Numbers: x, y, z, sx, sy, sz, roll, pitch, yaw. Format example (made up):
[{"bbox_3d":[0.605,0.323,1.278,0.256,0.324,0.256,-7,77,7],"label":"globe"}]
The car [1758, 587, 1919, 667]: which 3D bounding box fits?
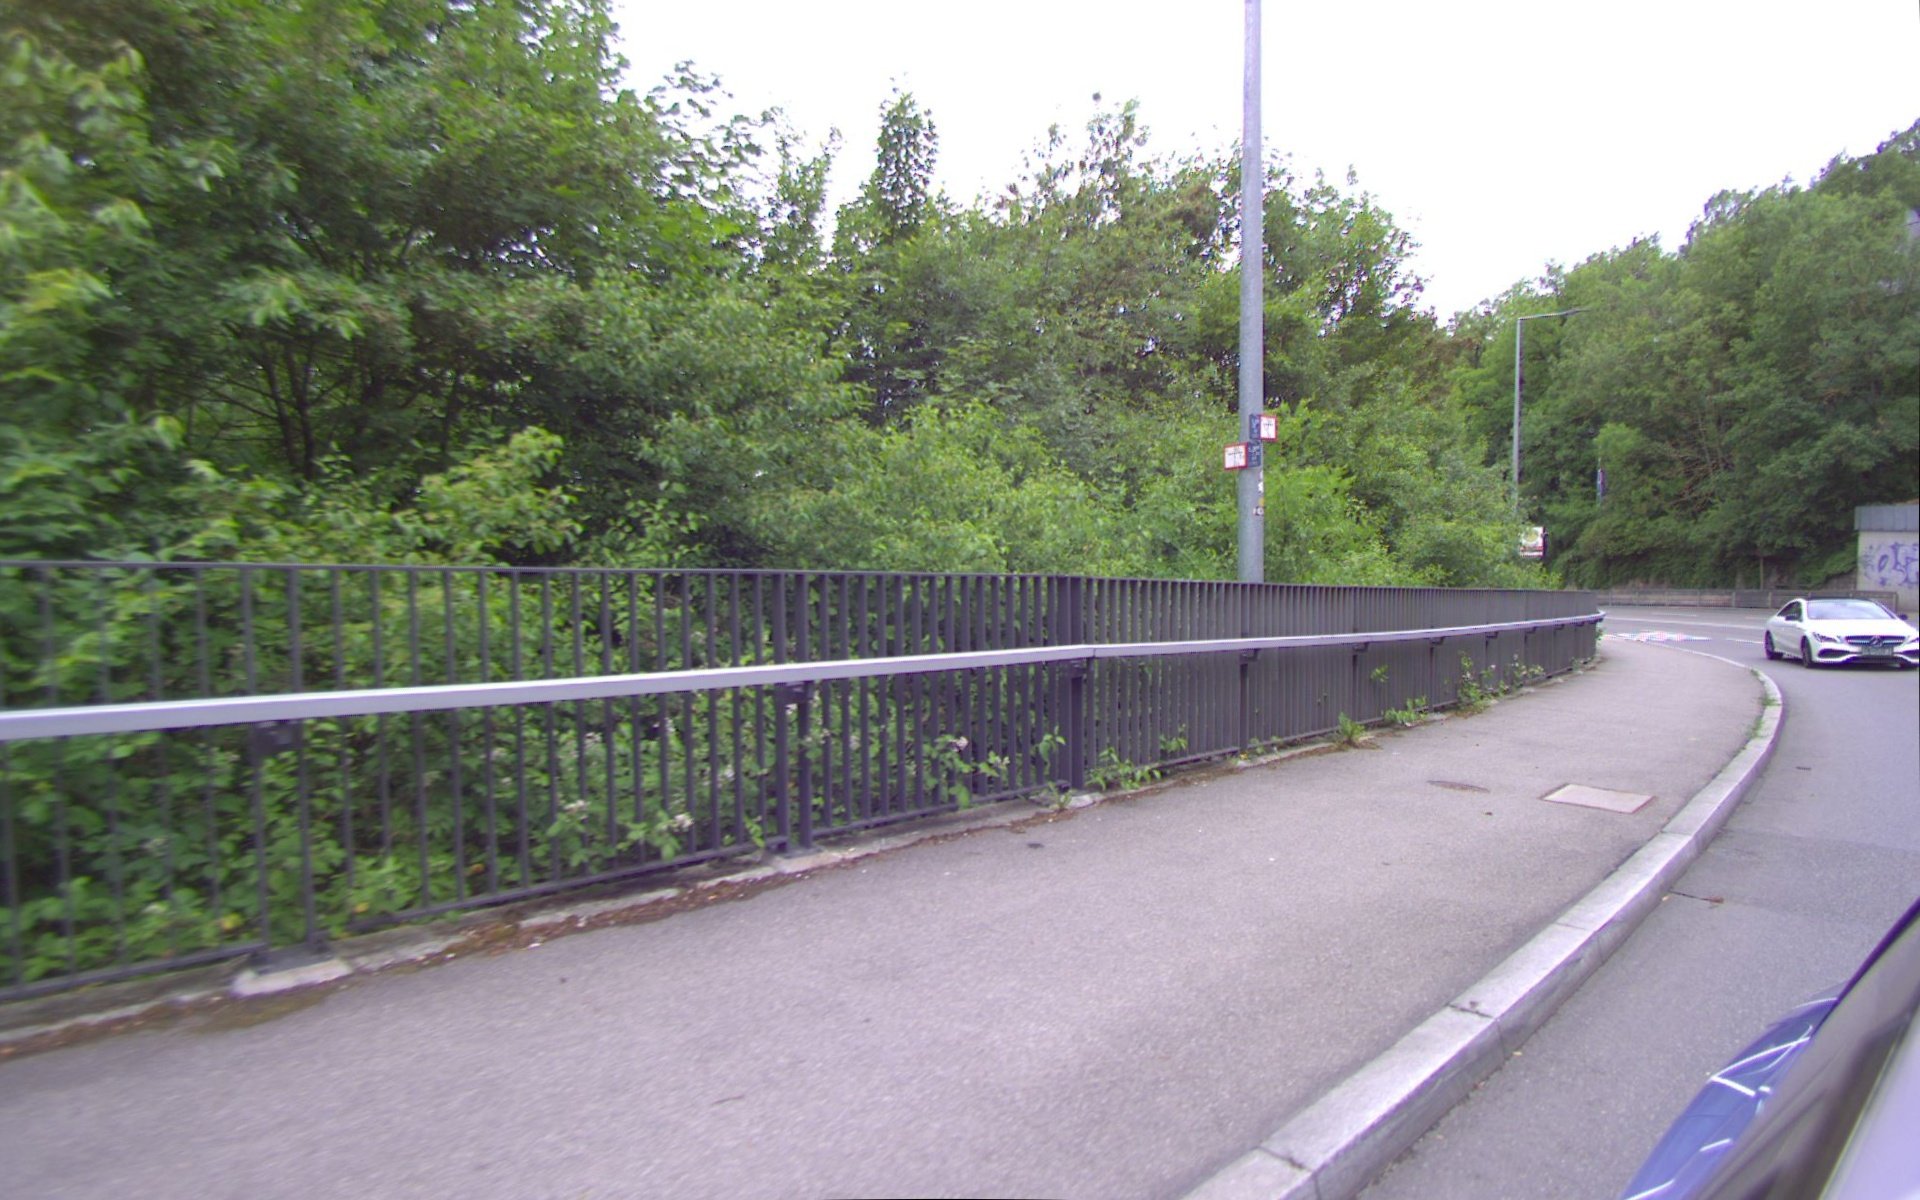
[{"bbox_3d":[18.722,0.507,21.337,1.883,1.445,4.231,-3,0,24],"label":"car"}]
